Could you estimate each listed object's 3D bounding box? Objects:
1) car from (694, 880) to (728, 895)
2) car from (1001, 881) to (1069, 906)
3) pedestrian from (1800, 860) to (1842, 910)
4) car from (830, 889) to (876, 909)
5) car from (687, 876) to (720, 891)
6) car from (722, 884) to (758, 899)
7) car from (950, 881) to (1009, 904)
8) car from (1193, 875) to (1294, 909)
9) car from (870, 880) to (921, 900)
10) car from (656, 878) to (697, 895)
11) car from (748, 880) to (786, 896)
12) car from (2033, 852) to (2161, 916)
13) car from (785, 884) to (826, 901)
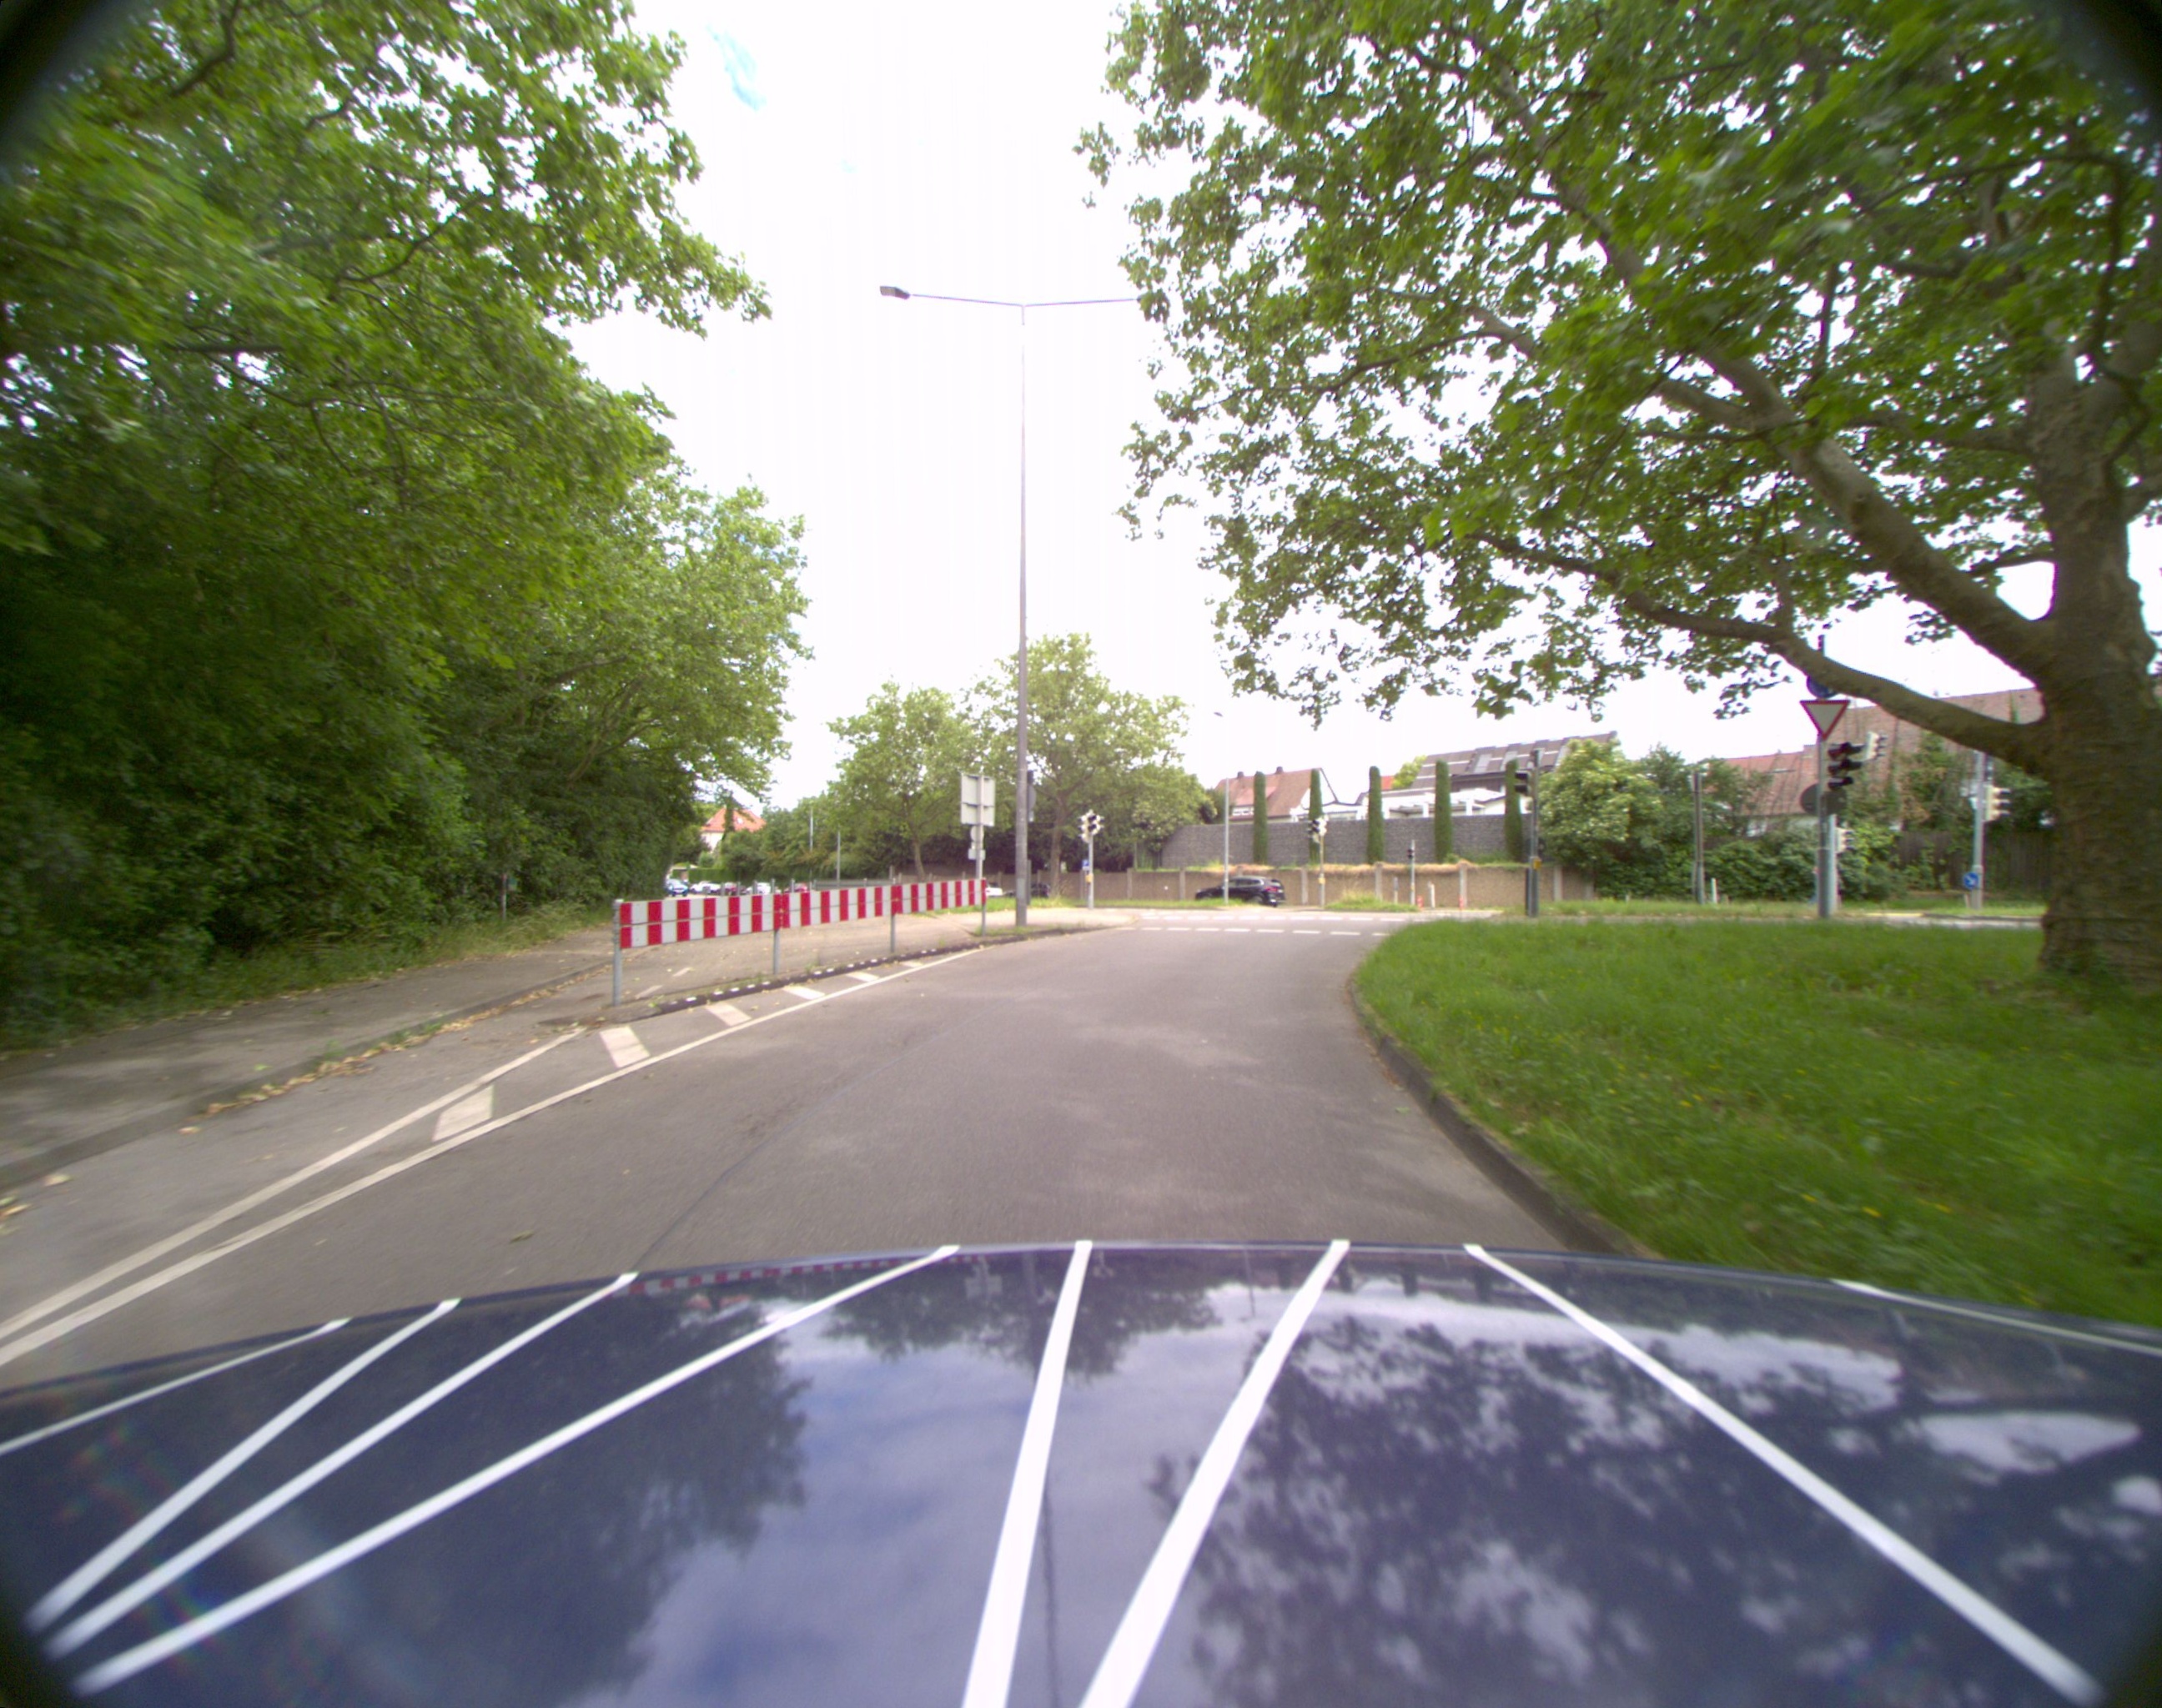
[{"bbox_3d":[-39.580,3.557,81.256,3.821,1.495,1.691,-2,-5,39],"label":"car"},{"bbox_3d":[-3.139,2.683,51.682,4.449,1.605,1.802,-1,-5,36],"label":"car"},{"bbox_3d":[29.748,1.242,30.555,0.853,2.001,0.954,-1,-2,20],"label":"pedestrian"},{"bbox_3d":[-19.482,3.831,64.842,4.027,1.593,1.802,-2,-3,40],"label":"car"},{"bbox_3d":[-41.418,3.267,83.378,3.821,1.495,1.691,-2,-5,39],"label":"car"},{"bbox_3d":[-34.692,3.807,77.268,3.821,1.495,1.691,-2,-5,39],"label":"car"},{"bbox_3d":[-7.379,2.795,55.205,4.206,1.605,1.802,-2,-5,38],"label":"car"},{"bbox_3d":[7.972,1.896,37.451,4.454,1.621,1.851,-2,-4,35],"label":"car"},{"bbox_3d":[-15.003,2.923,61.397,4.027,1.495,1.802,-2,-5,39],"label":"car"},{"bbox_3d":[-36.581,2.946,68.645,4.136,1.419,1.802,-2,-5,40],"label":"car"},{"bbox_3d":[-30.525,3.294,73.893,3.821,1.495,1.691,-2,-5,39],"label":"car"},{"bbox_3d":[28.874,0.821,20.188,4.254,1.621,1.849,0,-3,10],"label":"car"},{"bbox_3d":[-25.275,3.527,69.709,3.821,1.495,1.691,-2,-5,39],"label":"car"}]
